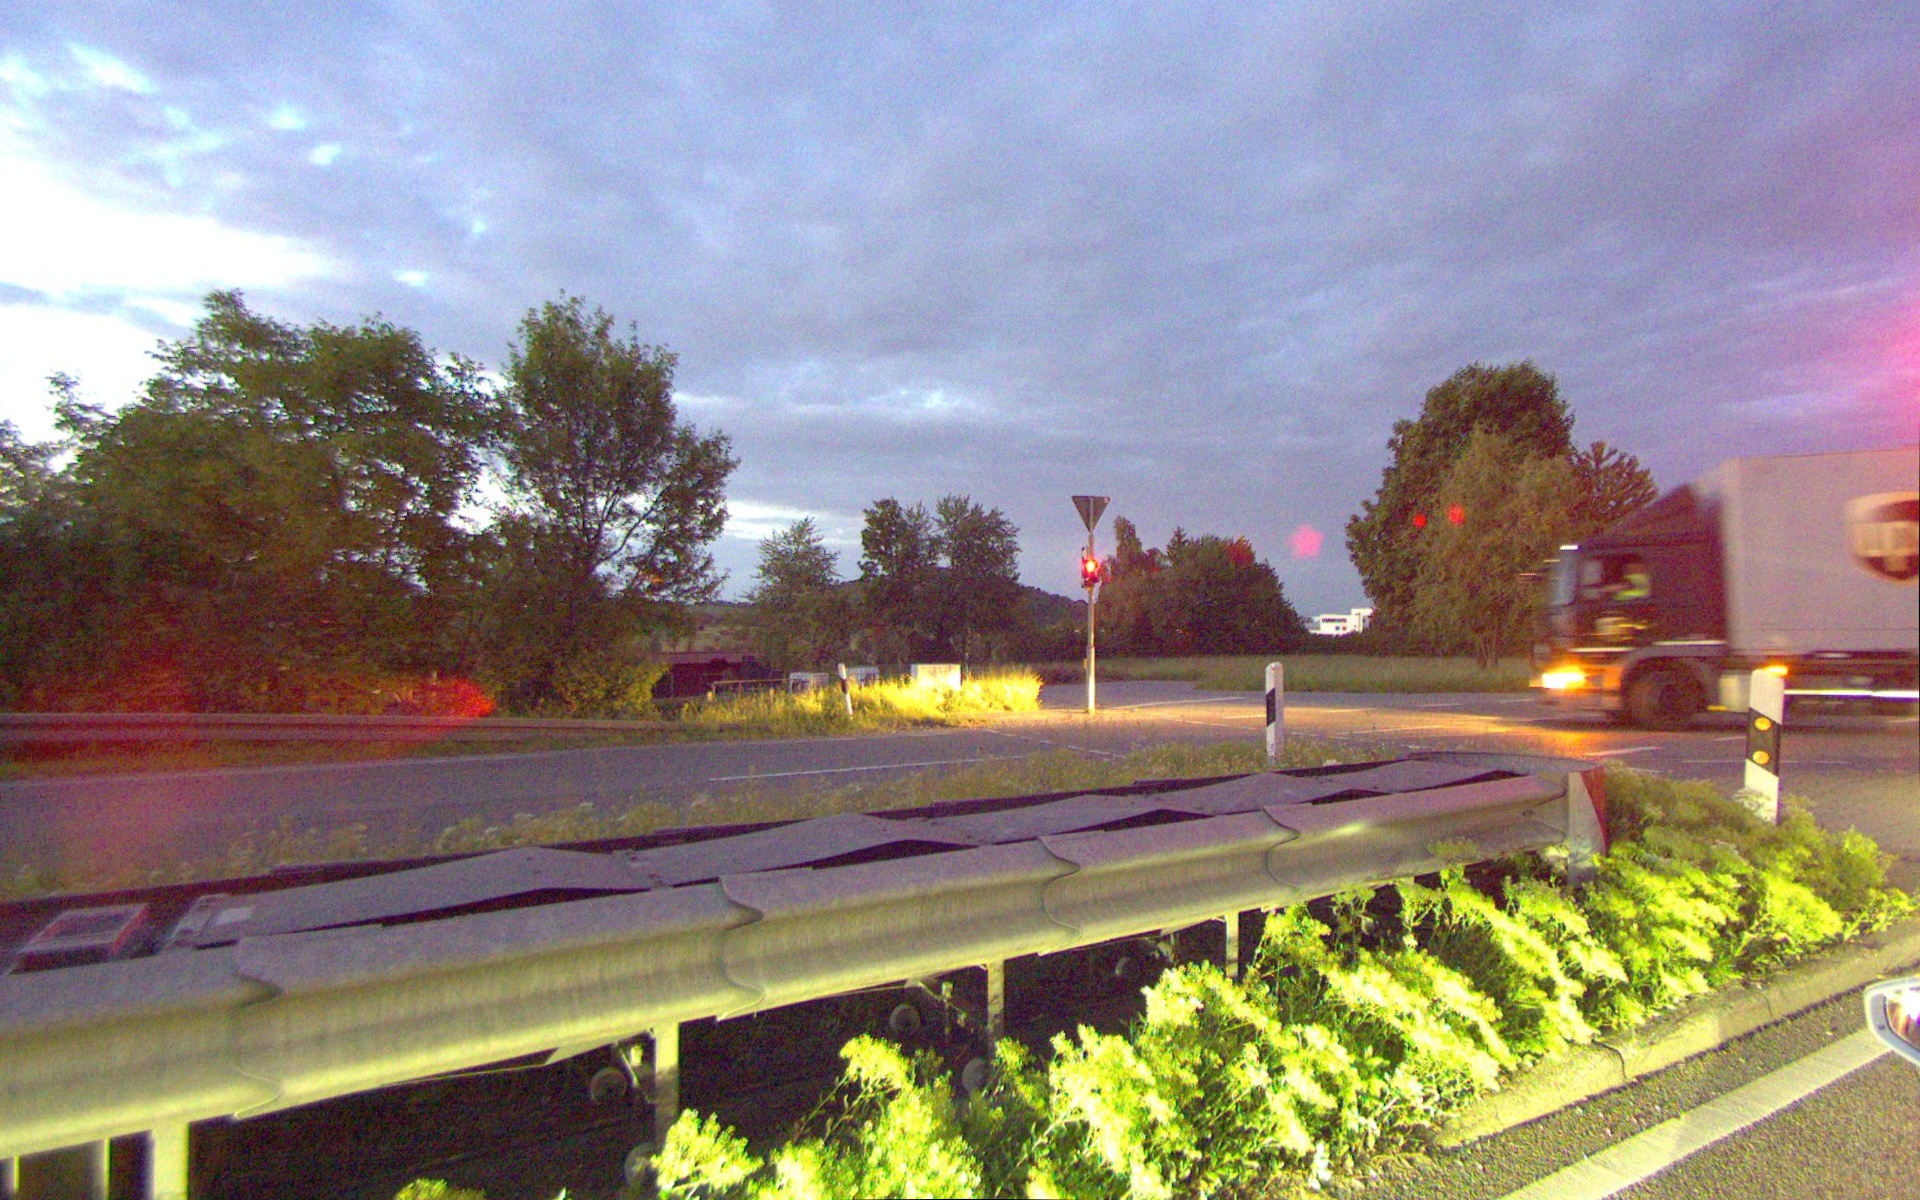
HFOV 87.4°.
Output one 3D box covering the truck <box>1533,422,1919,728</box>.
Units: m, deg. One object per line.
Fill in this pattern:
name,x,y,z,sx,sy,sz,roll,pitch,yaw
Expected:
truck,14.320,-0.303,14.632,10.151,4.172,2.732,0,-1,26
